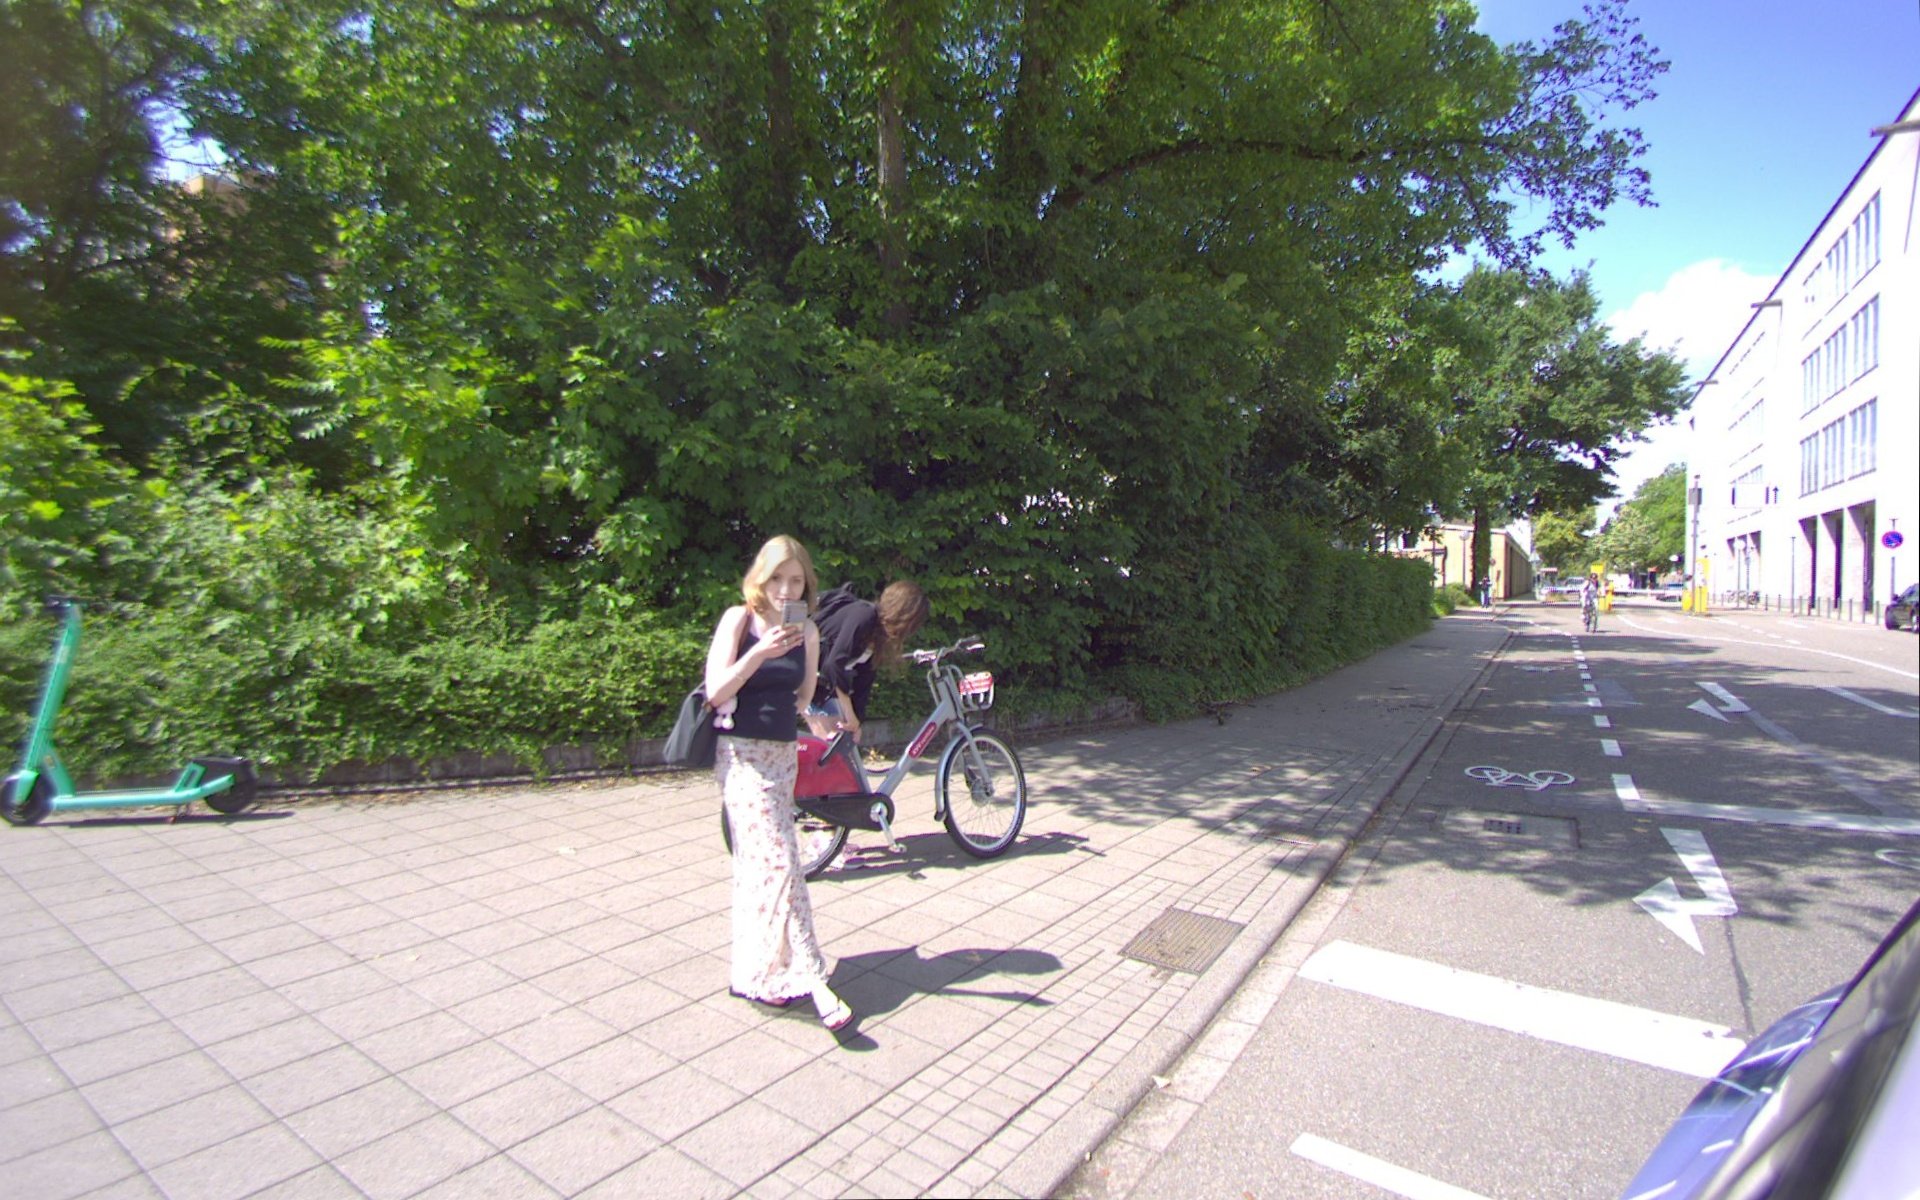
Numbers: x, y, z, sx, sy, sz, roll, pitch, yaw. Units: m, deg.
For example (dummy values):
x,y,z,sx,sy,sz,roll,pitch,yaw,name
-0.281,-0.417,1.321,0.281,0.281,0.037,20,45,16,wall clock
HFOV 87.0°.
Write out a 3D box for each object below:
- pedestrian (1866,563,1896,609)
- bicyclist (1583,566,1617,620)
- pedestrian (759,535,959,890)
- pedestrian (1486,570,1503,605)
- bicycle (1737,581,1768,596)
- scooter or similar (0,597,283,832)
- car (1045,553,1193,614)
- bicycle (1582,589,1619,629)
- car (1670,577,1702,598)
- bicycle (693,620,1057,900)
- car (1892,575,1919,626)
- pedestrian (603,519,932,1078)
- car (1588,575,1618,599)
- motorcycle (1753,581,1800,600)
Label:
x,y,z,sx,sy,sz,roll,pitch,yaw,name
41.418,-0.626,45.528,0.853,2.039,0.871,0,1,34,pedestrian
18.218,-0.215,28.825,0.775,1.505,0.688,1,1,30,bicyclist
-0.518,0.487,5.036,0.719,1.594,0.728,0,3,-30,pedestrian
26.284,-0.624,49.768,0.735,1.695,1.244,0,1,28,pedestrian
56.464,-0.819,72.129,1.627,1.100,0.602,0,0,27,bicycle
-4.278,0.571,5.330,1.153,1.161,0.287,0,1,-18,scooter or similar
5.606,-0.618,35.920,4.805,2.038,2.038,1,2,33,car
18.154,0.230,28.714,0.774,1.061,1.894,1,1,29,bicycle
58.599,-1.046,81.708,1.718,1.554,4.358,-2,1,31,car
-0.398,0.709,5.063,1.708,1.140,0.594,0,3,-31,bicycle
28.885,-0.008,29.266,1.850,1.486,4.668,-2,0,31,car
-0.637,0.549,3.408,0.729,1.595,0.765,4,3,36,pedestrian
50.990,-1.028,80.313,1.985,1.838,3.955,1,1,32,car
51.858,-0.598,64.318,2.147,1.152,0.769,1,1,22,motorcycle
